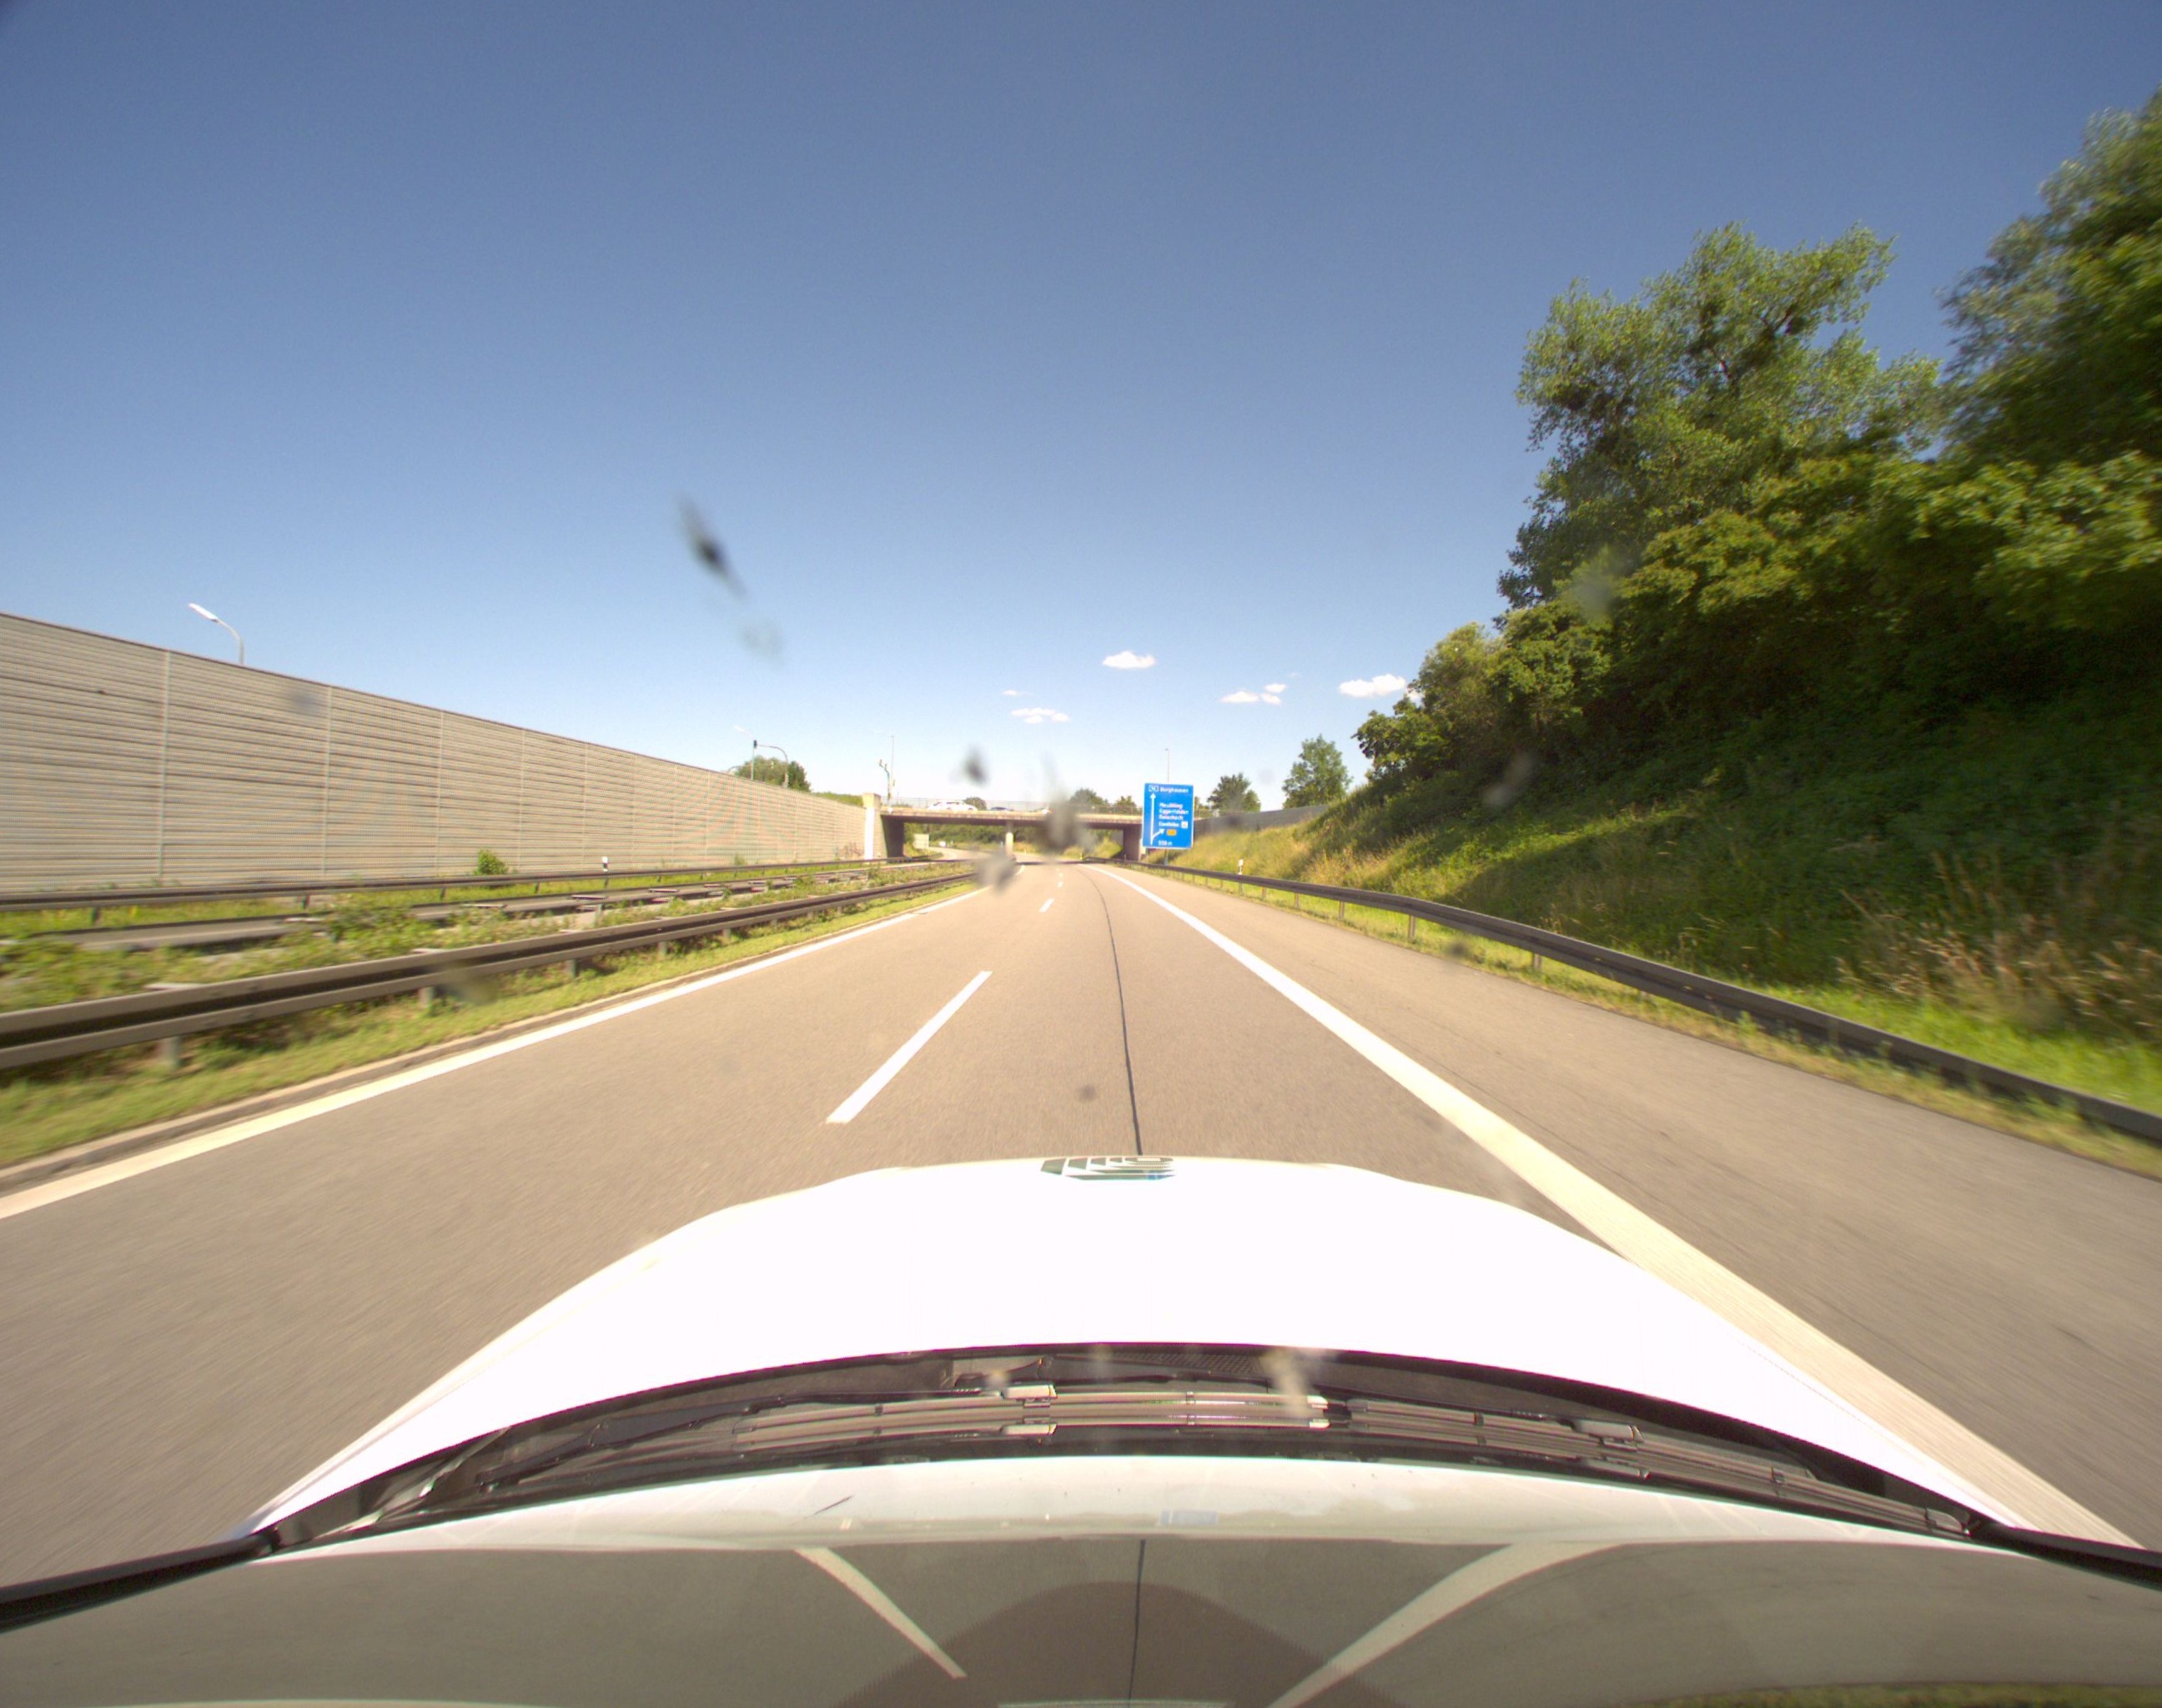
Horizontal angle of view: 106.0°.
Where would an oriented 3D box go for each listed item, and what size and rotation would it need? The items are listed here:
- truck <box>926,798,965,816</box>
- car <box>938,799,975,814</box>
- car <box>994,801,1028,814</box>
[{"bbox_3d":[-17.654,-6.087,106.392,4.853,2.167,1.995,0,-1,-8],"label":"truck"},{"bbox_3d":[-15.423,-5.918,100.940,4.394,1.597,1.996,1,-1,-5],"label":"car"},{"bbox_3d":[-9.260,-6.101,107.376,4.423,1.556,1.902,0,-1,-7],"label":"car"}]
